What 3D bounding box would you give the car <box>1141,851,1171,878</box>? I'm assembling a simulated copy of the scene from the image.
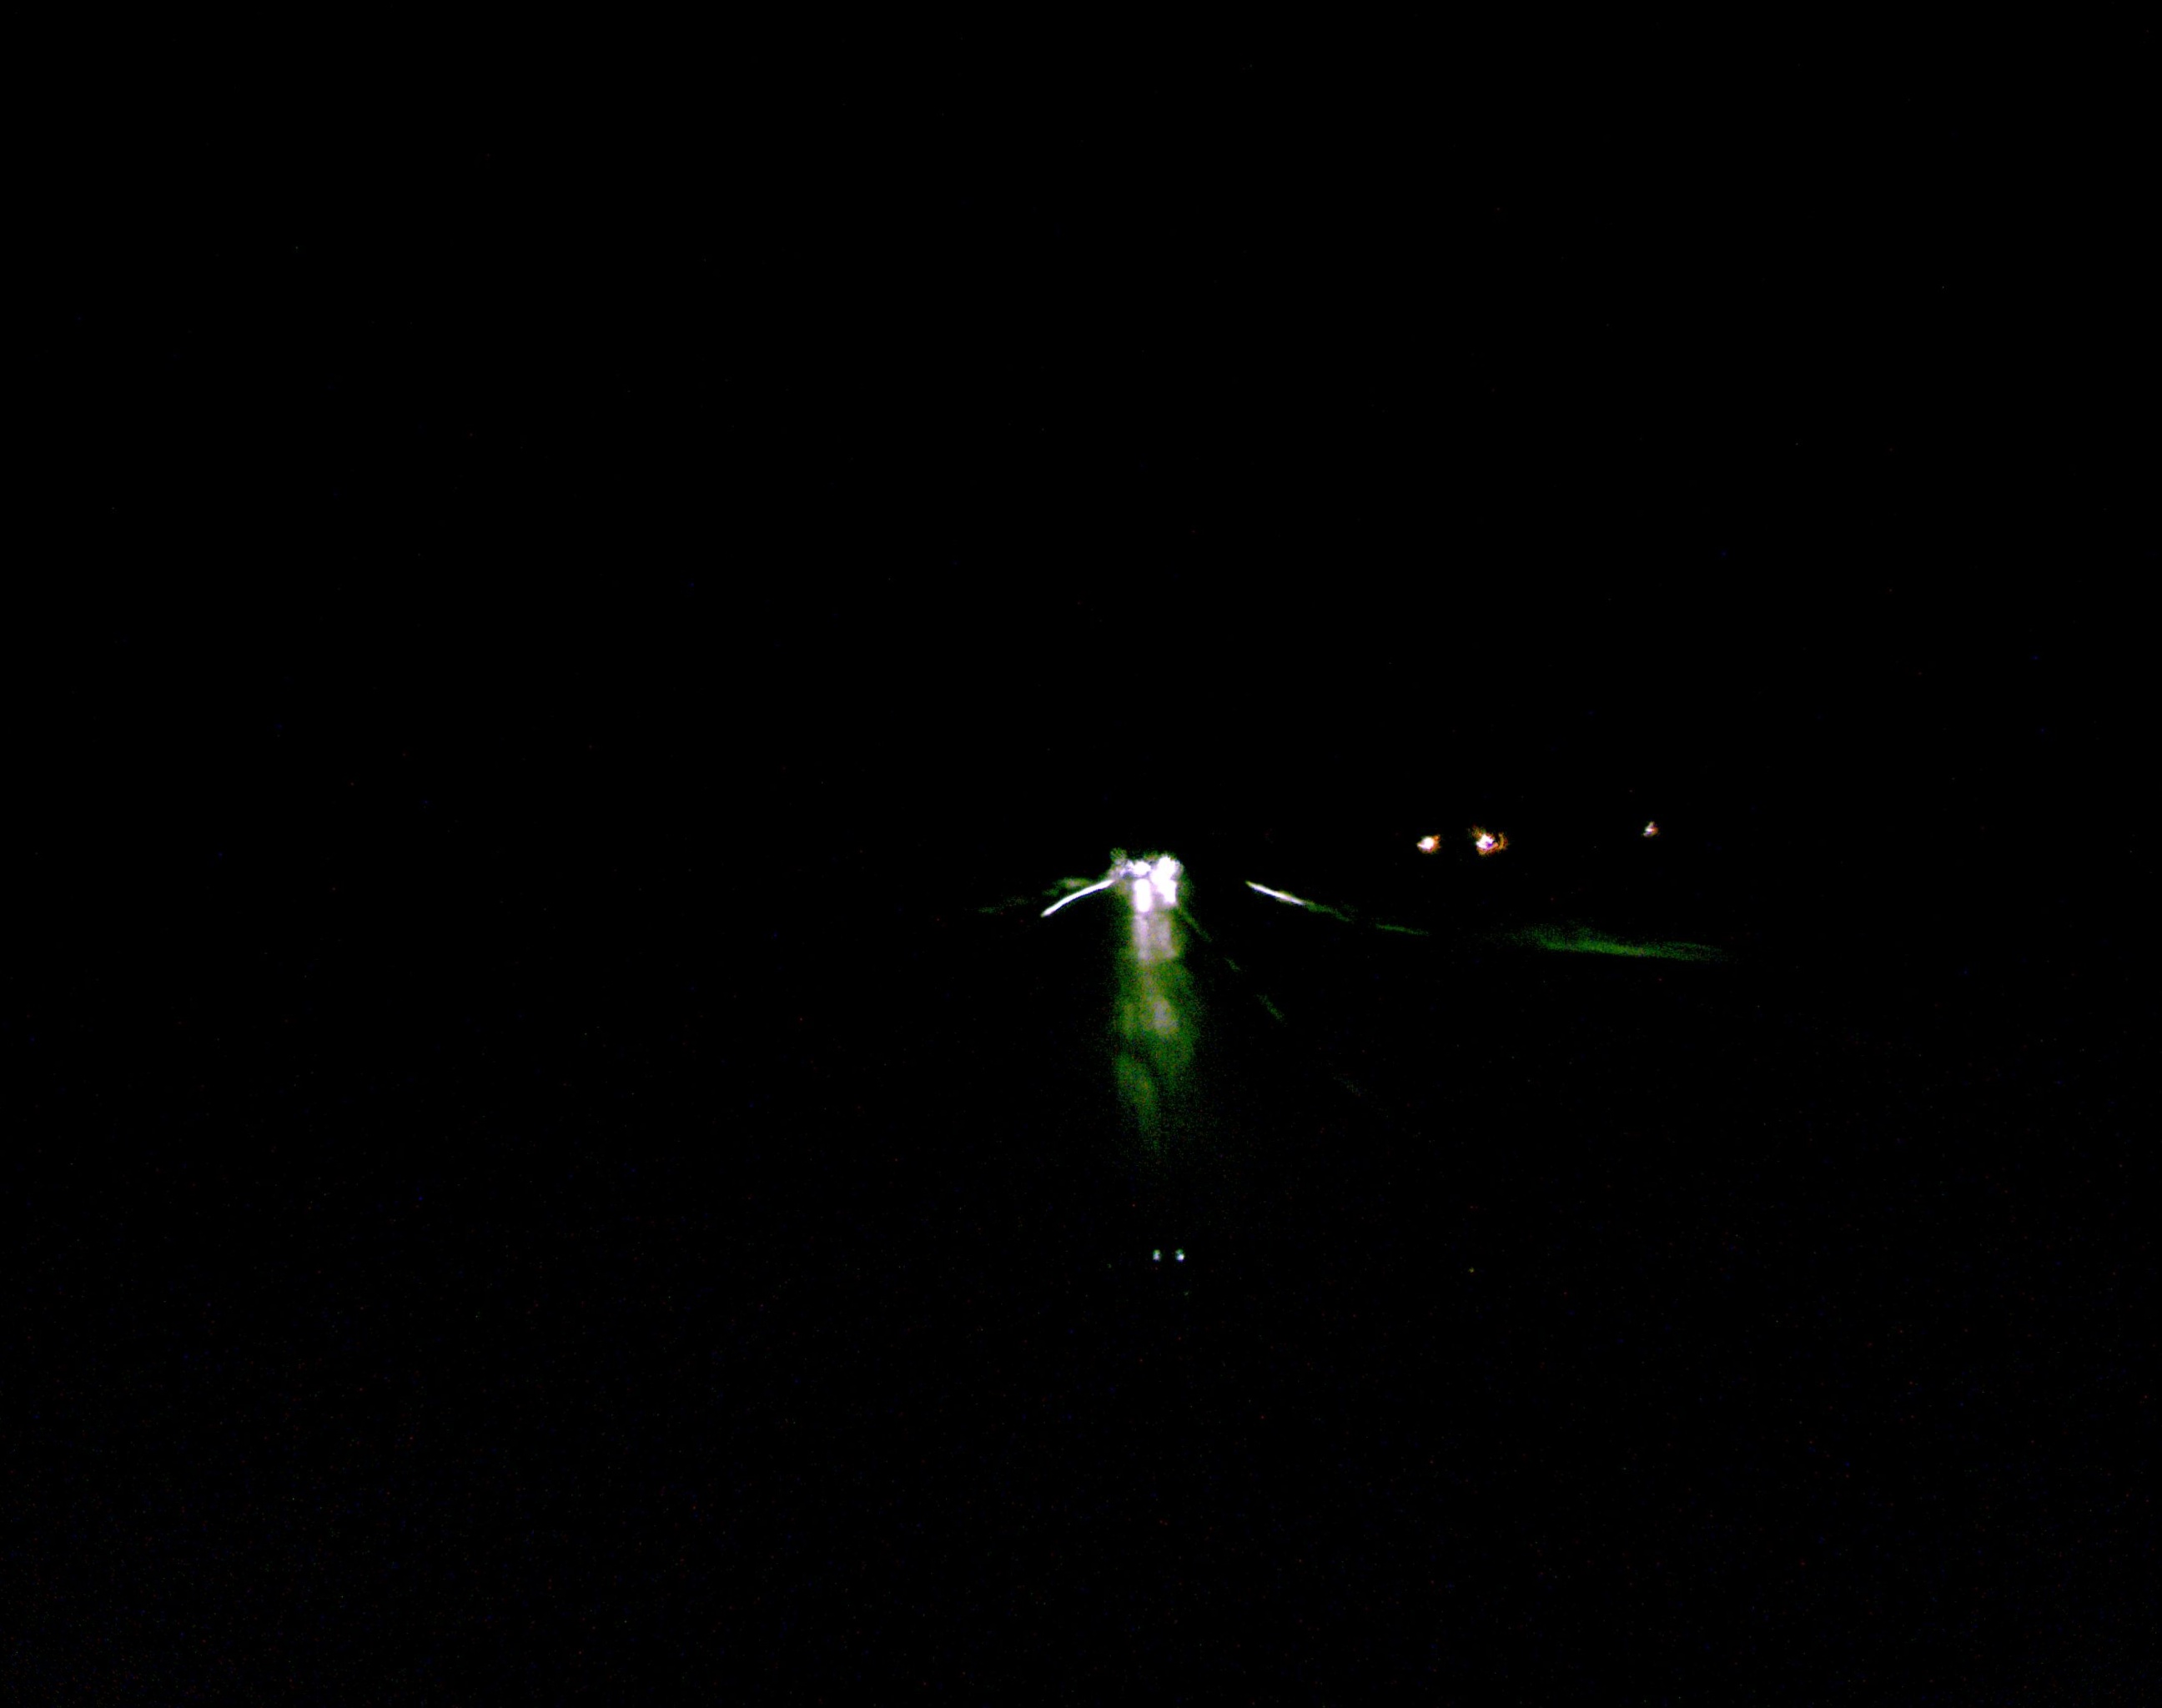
[{"bbox_3d":[5.223,0.701,52.847,1.958,1.712,4.001,-1,1,6],"label":"car"}]
